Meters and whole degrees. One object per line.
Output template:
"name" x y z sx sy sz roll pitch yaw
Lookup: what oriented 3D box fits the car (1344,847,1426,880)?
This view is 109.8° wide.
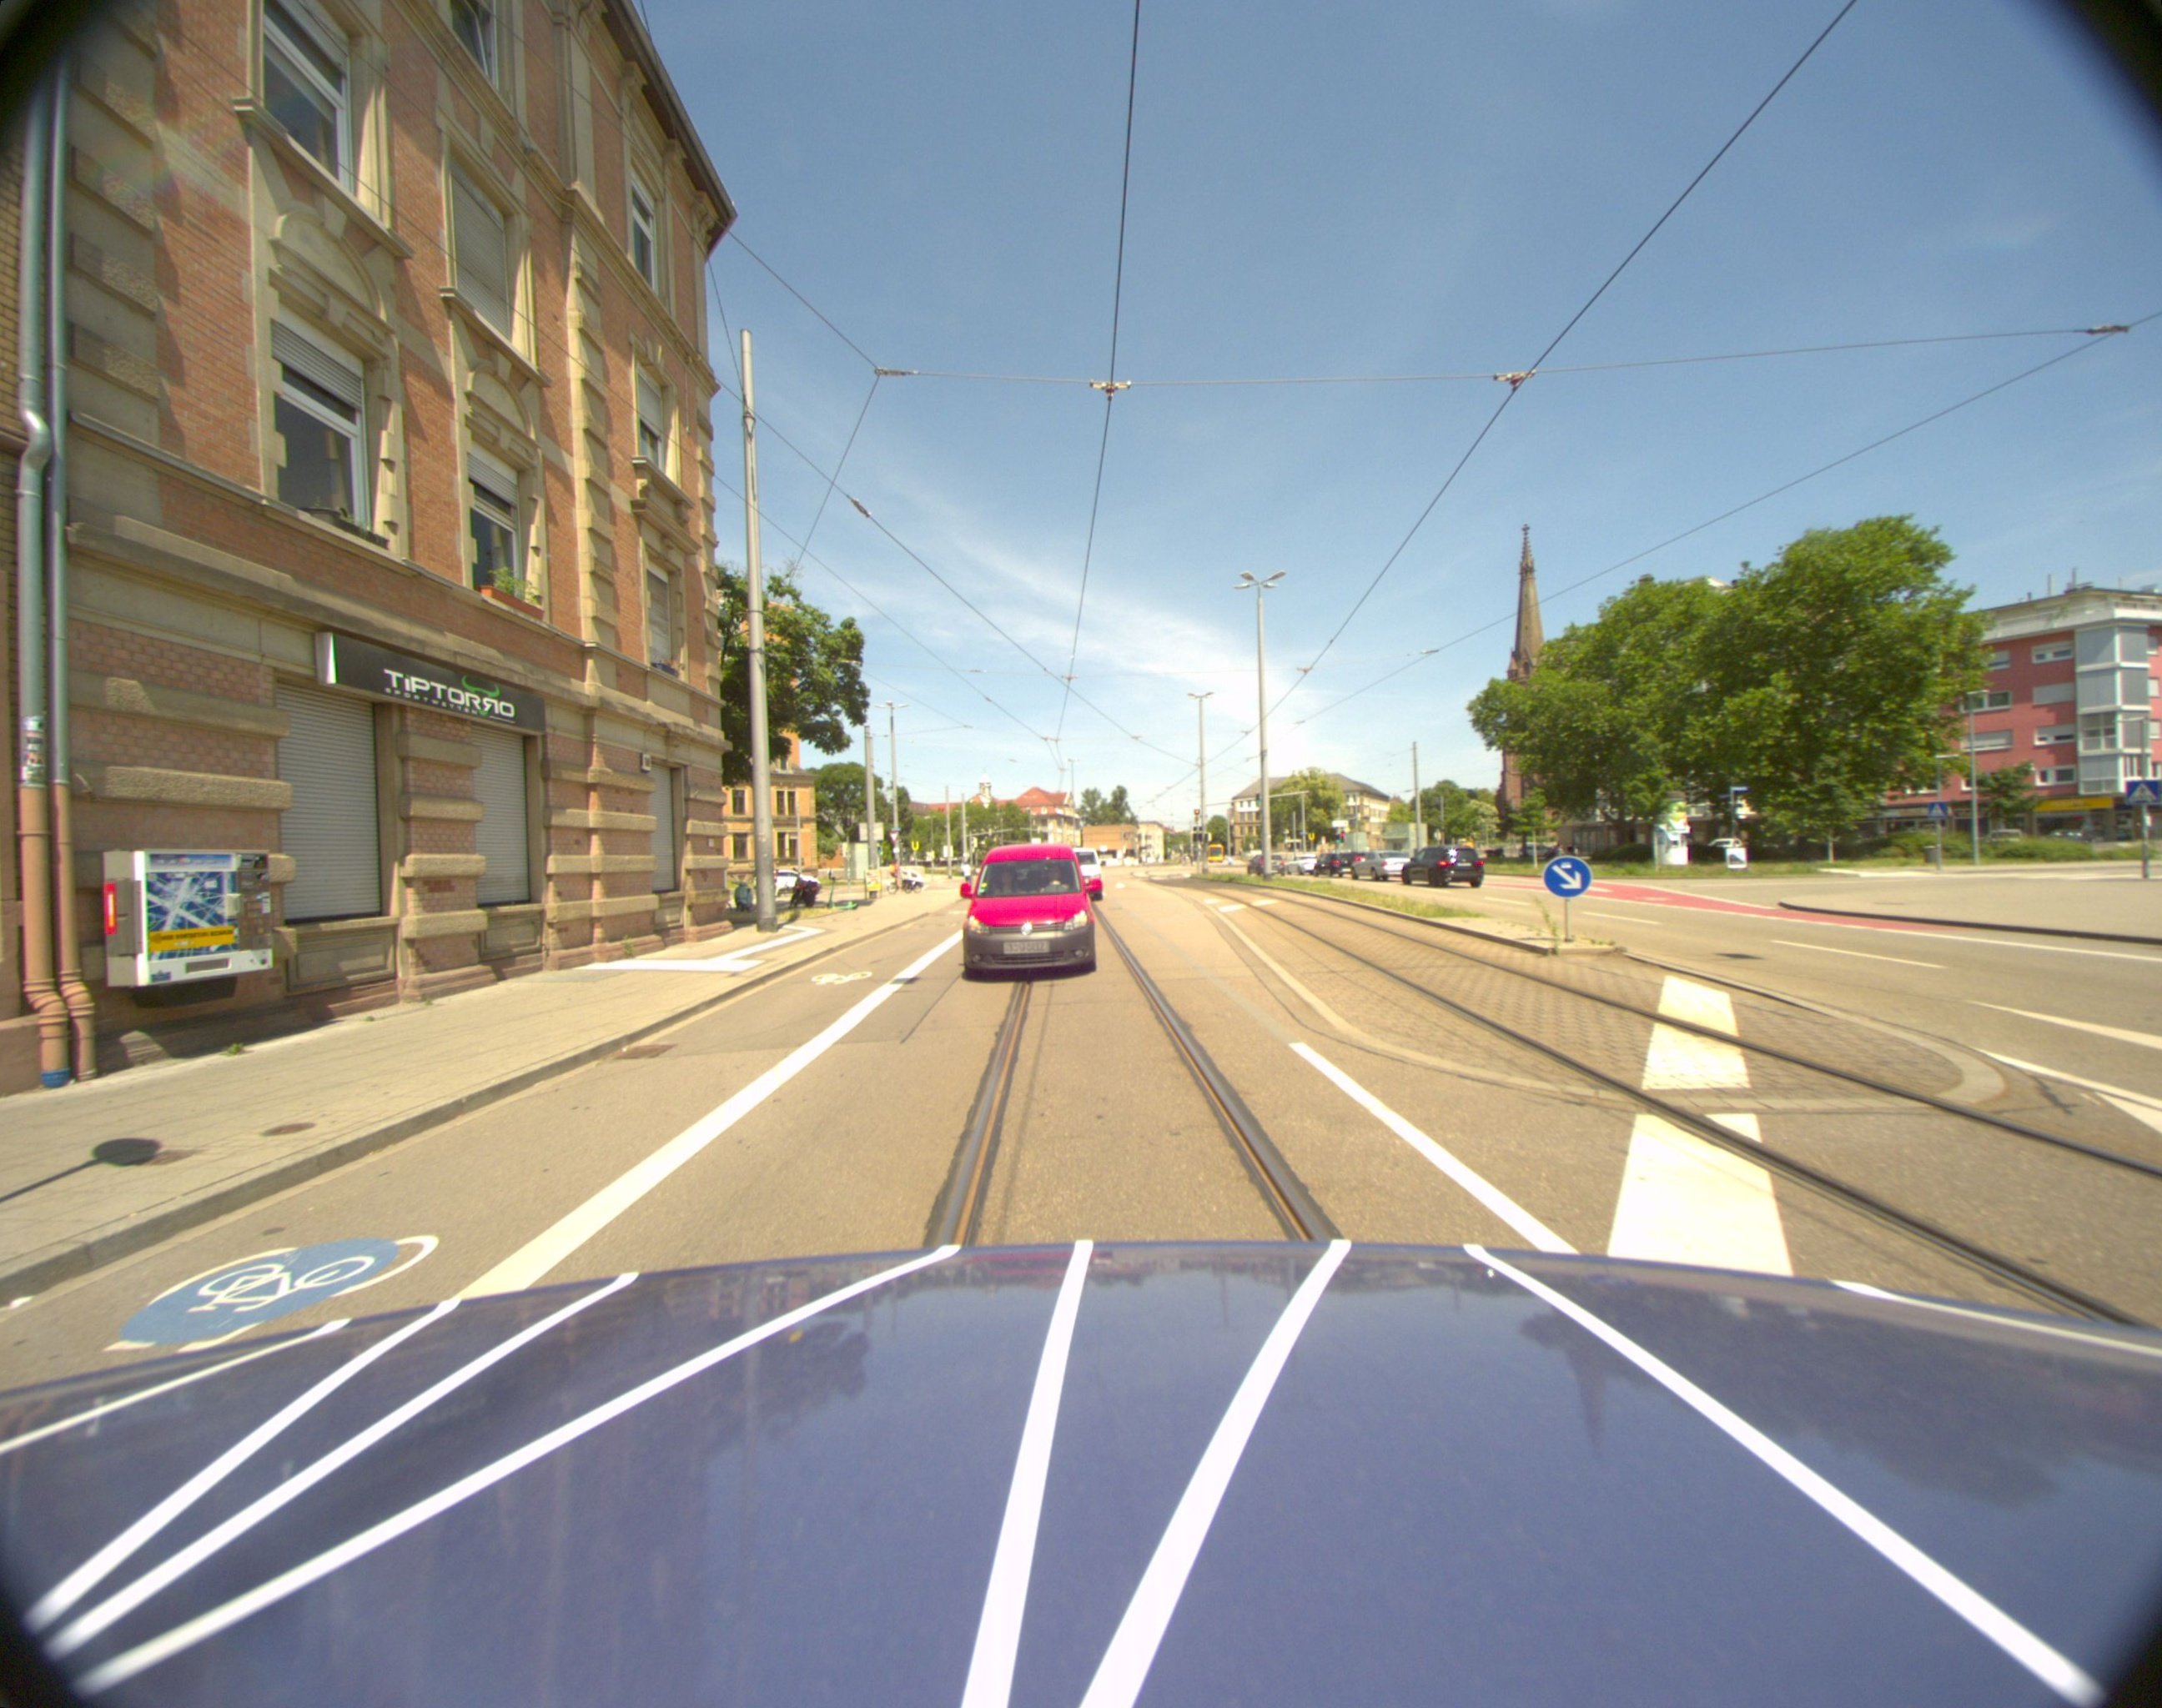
"car" 15.129 0.425 38.100 1.999 1.521 5.130 -1 0 -1

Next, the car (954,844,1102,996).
"car" -0.693 0.816 11.454 1.755 1.802 4.096 -2 0 -1

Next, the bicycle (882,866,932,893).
"bicycle" -9.093 1.323 39.746 2.225 1.243 1.096 -2 0 -45

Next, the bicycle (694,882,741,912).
"bicycle" -13.052 1.533 27.352 0.647 0.959 2.082 -2 0 0

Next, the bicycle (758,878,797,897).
"bicycle" -17.985 1.968 45.047 2.023 0.999 0.724 -2 0 -36

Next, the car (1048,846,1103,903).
"car" -0.197 0.710 28.777 1.874 1.954 3.823 -2 0 0

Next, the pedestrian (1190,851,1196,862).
"pedestrian" 16.044 0.365 108.763 0.657 1.661 0.449 -2 1 -16

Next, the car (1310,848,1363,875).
"car" 14.809 0.430 44.281 1.675 1.453 3.903 -1 0 -1

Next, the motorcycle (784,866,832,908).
"motorcycle" -9.916 1.168 27.758 0.766 1.354 2.595 -2 1 0

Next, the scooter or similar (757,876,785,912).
"scooter or similar" -10.976 1.398 26.917 0.602 1.145 1.378 -2 1 -11

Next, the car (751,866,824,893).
"car" -19.790 1.698 51.318 4.184 1.596 1.703 -2 0 -39

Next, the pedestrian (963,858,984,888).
"pedestrian" -6.535 1.134 46.173 0.808 1.769 0.876 -2 1 31

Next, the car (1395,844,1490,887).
"car" 14.537 0.424 30.841 1.826 1.617 4.525 -1 0 2

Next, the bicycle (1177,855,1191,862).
"bicycle" 14.781 0.597 109.349 1.906 0.973 0.528 -2 0 -5

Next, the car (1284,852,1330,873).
"car" 15.036 0.522 50.801 1.711 1.291 4.202 -1 0 -1

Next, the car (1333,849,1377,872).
"car" 20.070 0.493 55.820 1.538 1.588 4.399 -1 0 -1

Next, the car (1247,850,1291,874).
"car" 12.197 0.526 49.588 1.848 1.471 4.330 -1 0 0

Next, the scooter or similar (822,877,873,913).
"scooter or similar" -8.011 1.386 26.103 1.527 1.149 0.713 -2 0 -29

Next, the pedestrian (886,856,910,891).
"pedestrian" -9.489 1.002 39.354 0.826 1.765 0.812 -4 2 -45

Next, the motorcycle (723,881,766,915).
"motorcycle" -11.948 1.551 27.013 0.692 1.090 1.747 -2 1 0

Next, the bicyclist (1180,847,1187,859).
"bicyclist" 14.755 -0.083 109.415 0.813 1.678 0.528 -2 1 -5

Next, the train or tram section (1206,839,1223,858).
"train or tram section" 24.448 -1.038 139.196 2.840 3.195 9.115 -2 0 9
